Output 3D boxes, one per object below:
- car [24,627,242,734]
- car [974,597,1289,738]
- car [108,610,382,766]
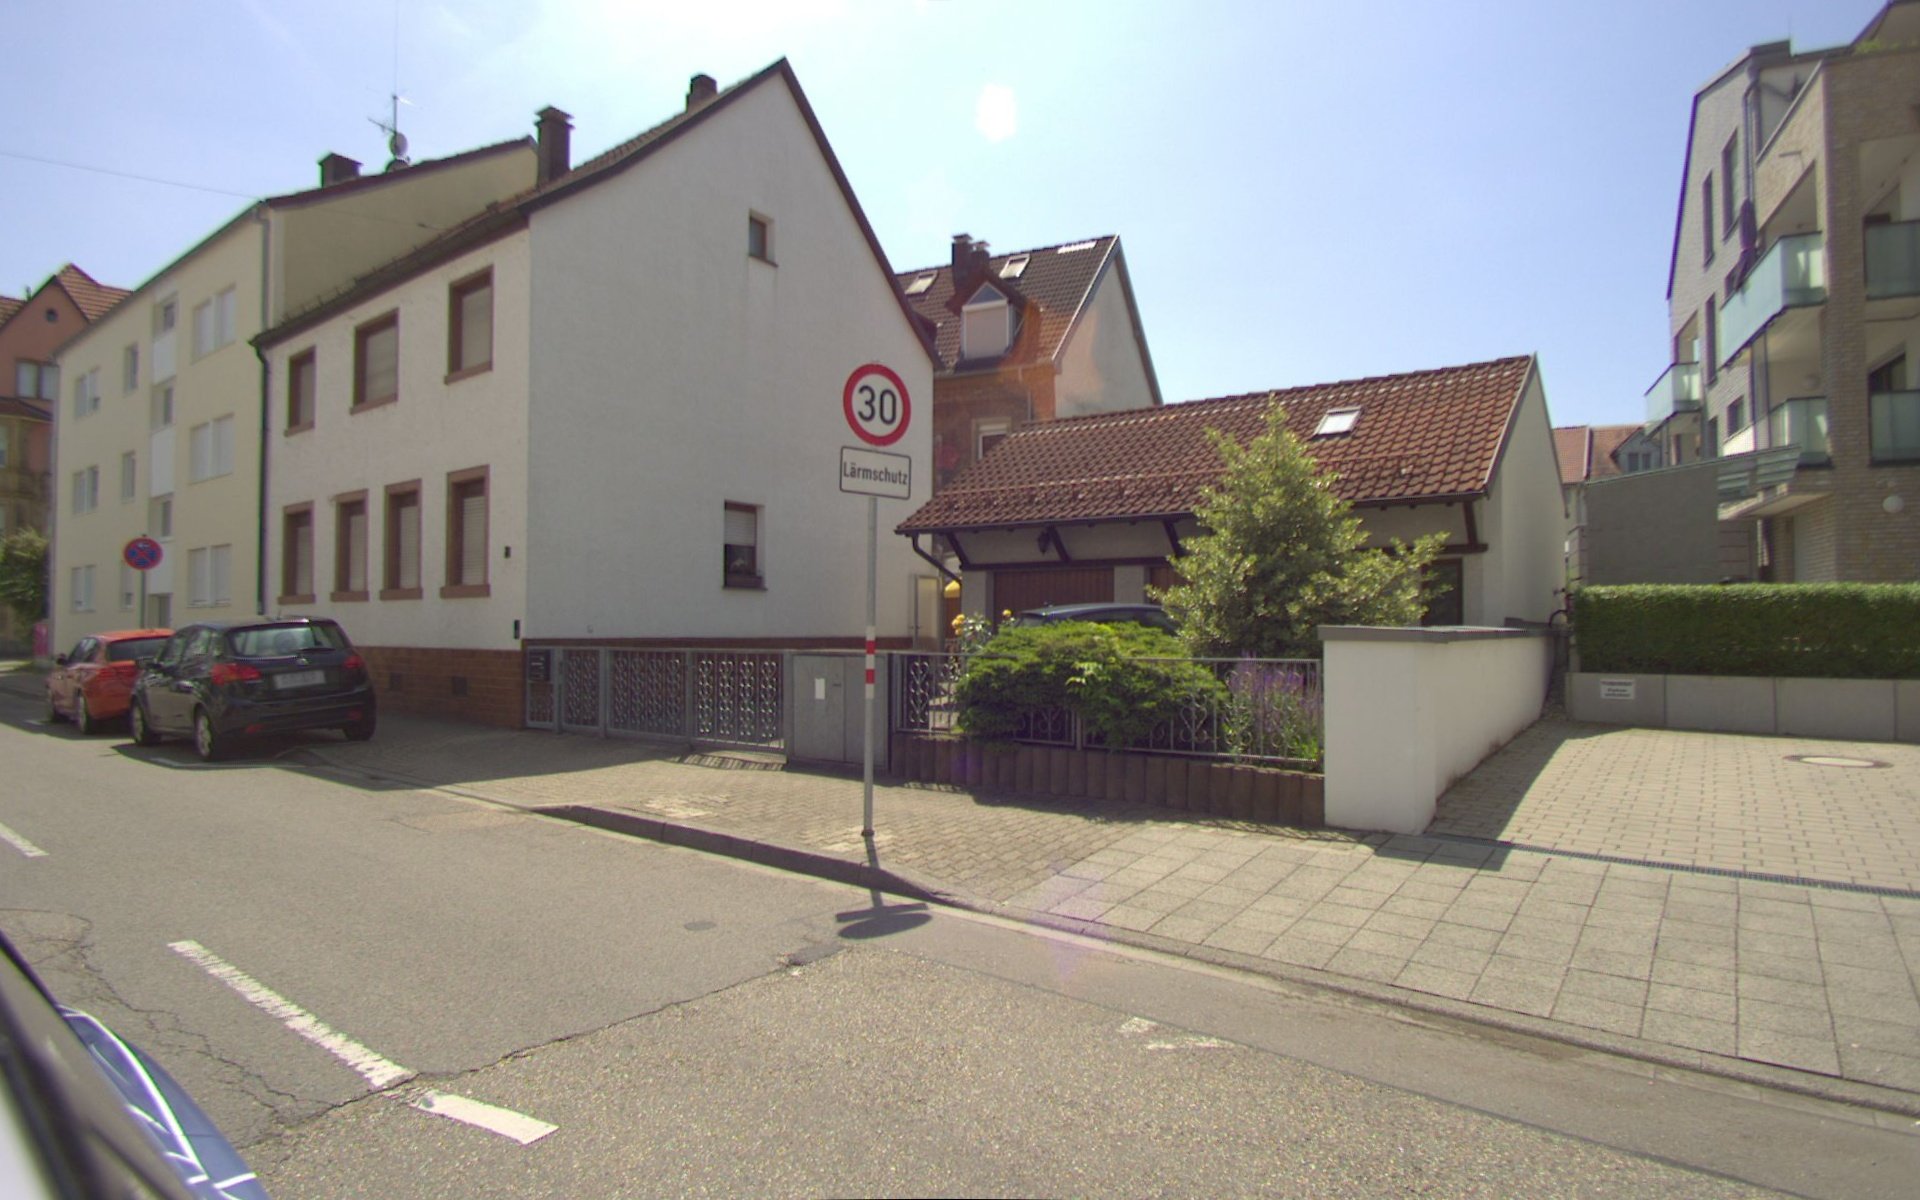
[{"bbox_3d":[-12.921,1.141,15.731,4.286,1.427,1.815,-1,-2,40],"label":"car"},{"bbox_3d":[2.070,0.779,12.688,3.507,1.551,1.642,-1,0,-9],"label":"car"},{"bbox_3d":[-9.103,0.980,12.787,3.939,1.659,1.777,-1,-1,38],"label":"car"}]
